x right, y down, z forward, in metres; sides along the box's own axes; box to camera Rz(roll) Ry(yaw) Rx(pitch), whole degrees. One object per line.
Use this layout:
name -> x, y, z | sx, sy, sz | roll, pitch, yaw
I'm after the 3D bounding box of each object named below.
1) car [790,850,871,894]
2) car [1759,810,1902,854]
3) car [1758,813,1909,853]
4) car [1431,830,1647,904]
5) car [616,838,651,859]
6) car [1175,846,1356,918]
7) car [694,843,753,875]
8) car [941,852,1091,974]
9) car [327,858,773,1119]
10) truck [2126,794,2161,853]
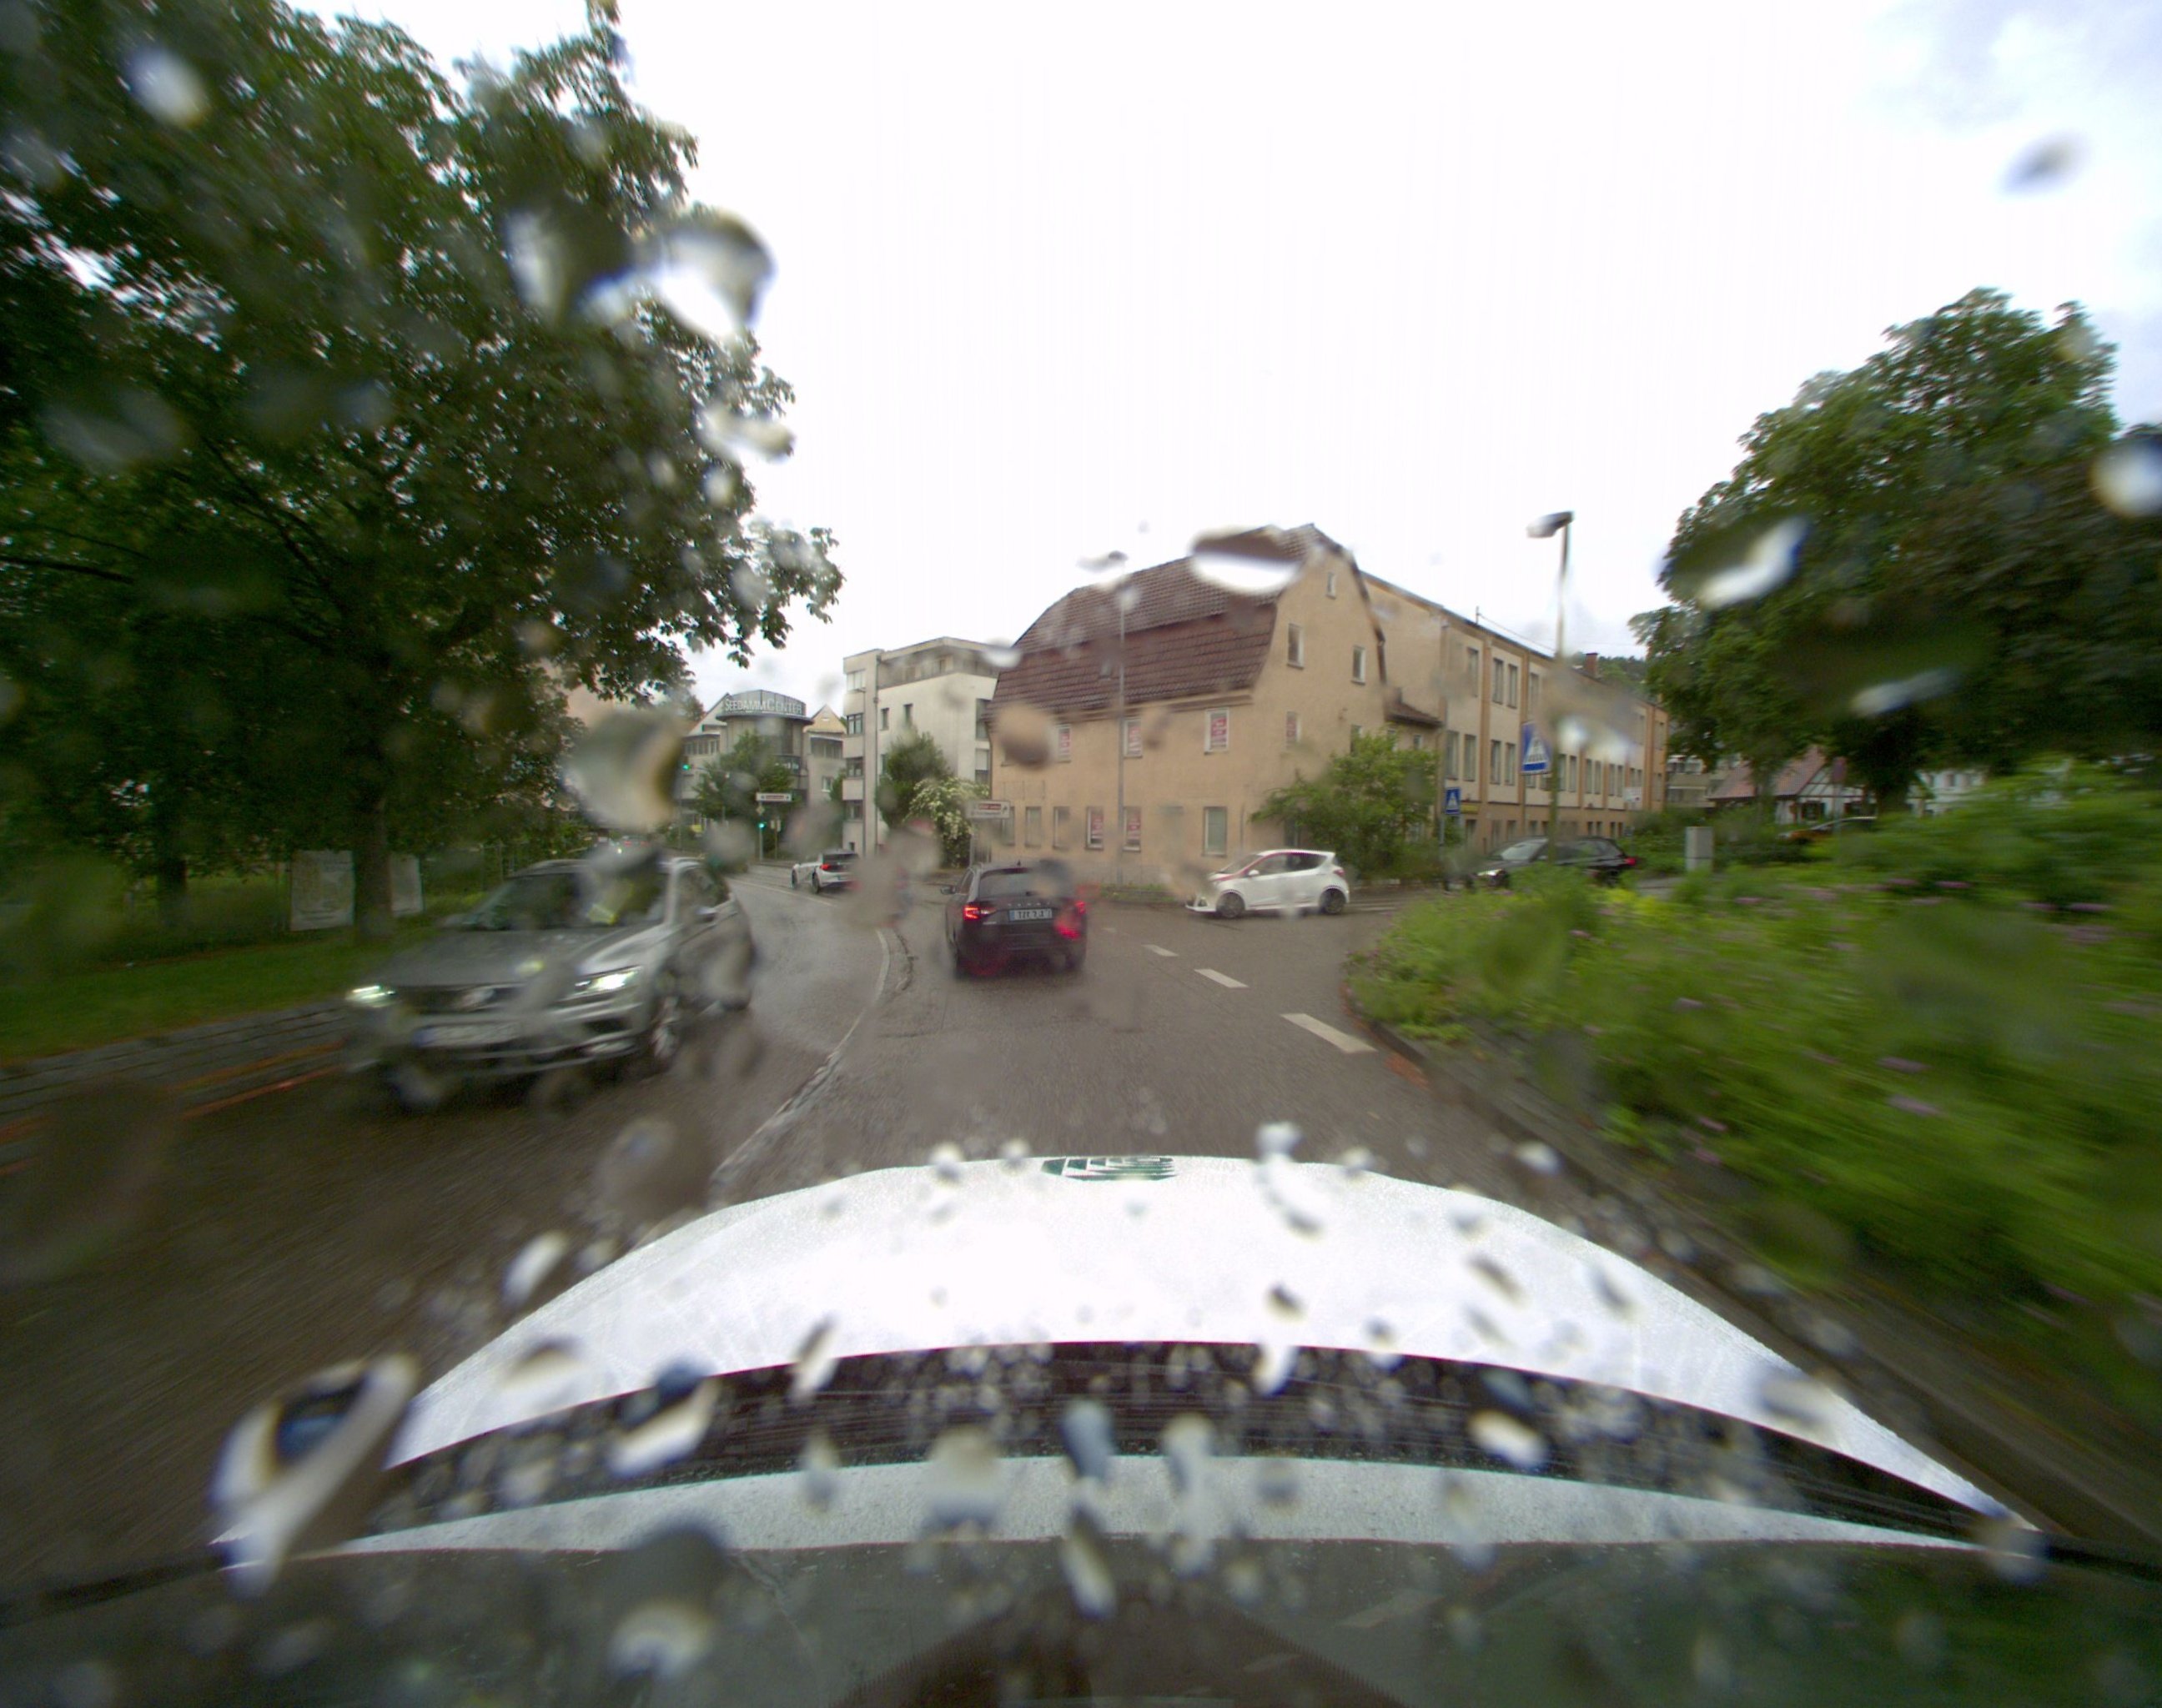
car -> -9.363, 0.602, 30.286 | 1.831, 1.359, 3.949 | -1, 3, -33
car -> 28.036, -0.815, 30.529 | 1.729, 1.572, 3.857 | -3, 2, -44
car -> 31.238, -0.856, 33.995 | 4.362, 1.572, 1.730 | 0, 2, 32
car -> 10.919, 0.263, 19.524 | 4.402, 1.572, 1.714 | -2, 1, -8
car -> -36.552, -0.467, 66.472 | 1.908, 1.590, 3.648 | -3, 3, -37
car -> 4.227, 0.605, 18.904 | 3.749, 1.453, 1.708 | -2, 1, -8
car -> -18.832, 0.296, 42.789 | 1.742, 1.590, 4.135 | 0, -1, -40
car -> -1.167, 0.805, 12.468 | 1.783, 1.483, 4.229 | -1, -2, -11
car -> -4.142, 0.855, 7.302 | 1.728, 1.543, 4.285 | -2, 0, -10
truck -> 43.058, -1.190, 29.479 | 2.288, 2.275, 6.698 | -2, 1, 5
